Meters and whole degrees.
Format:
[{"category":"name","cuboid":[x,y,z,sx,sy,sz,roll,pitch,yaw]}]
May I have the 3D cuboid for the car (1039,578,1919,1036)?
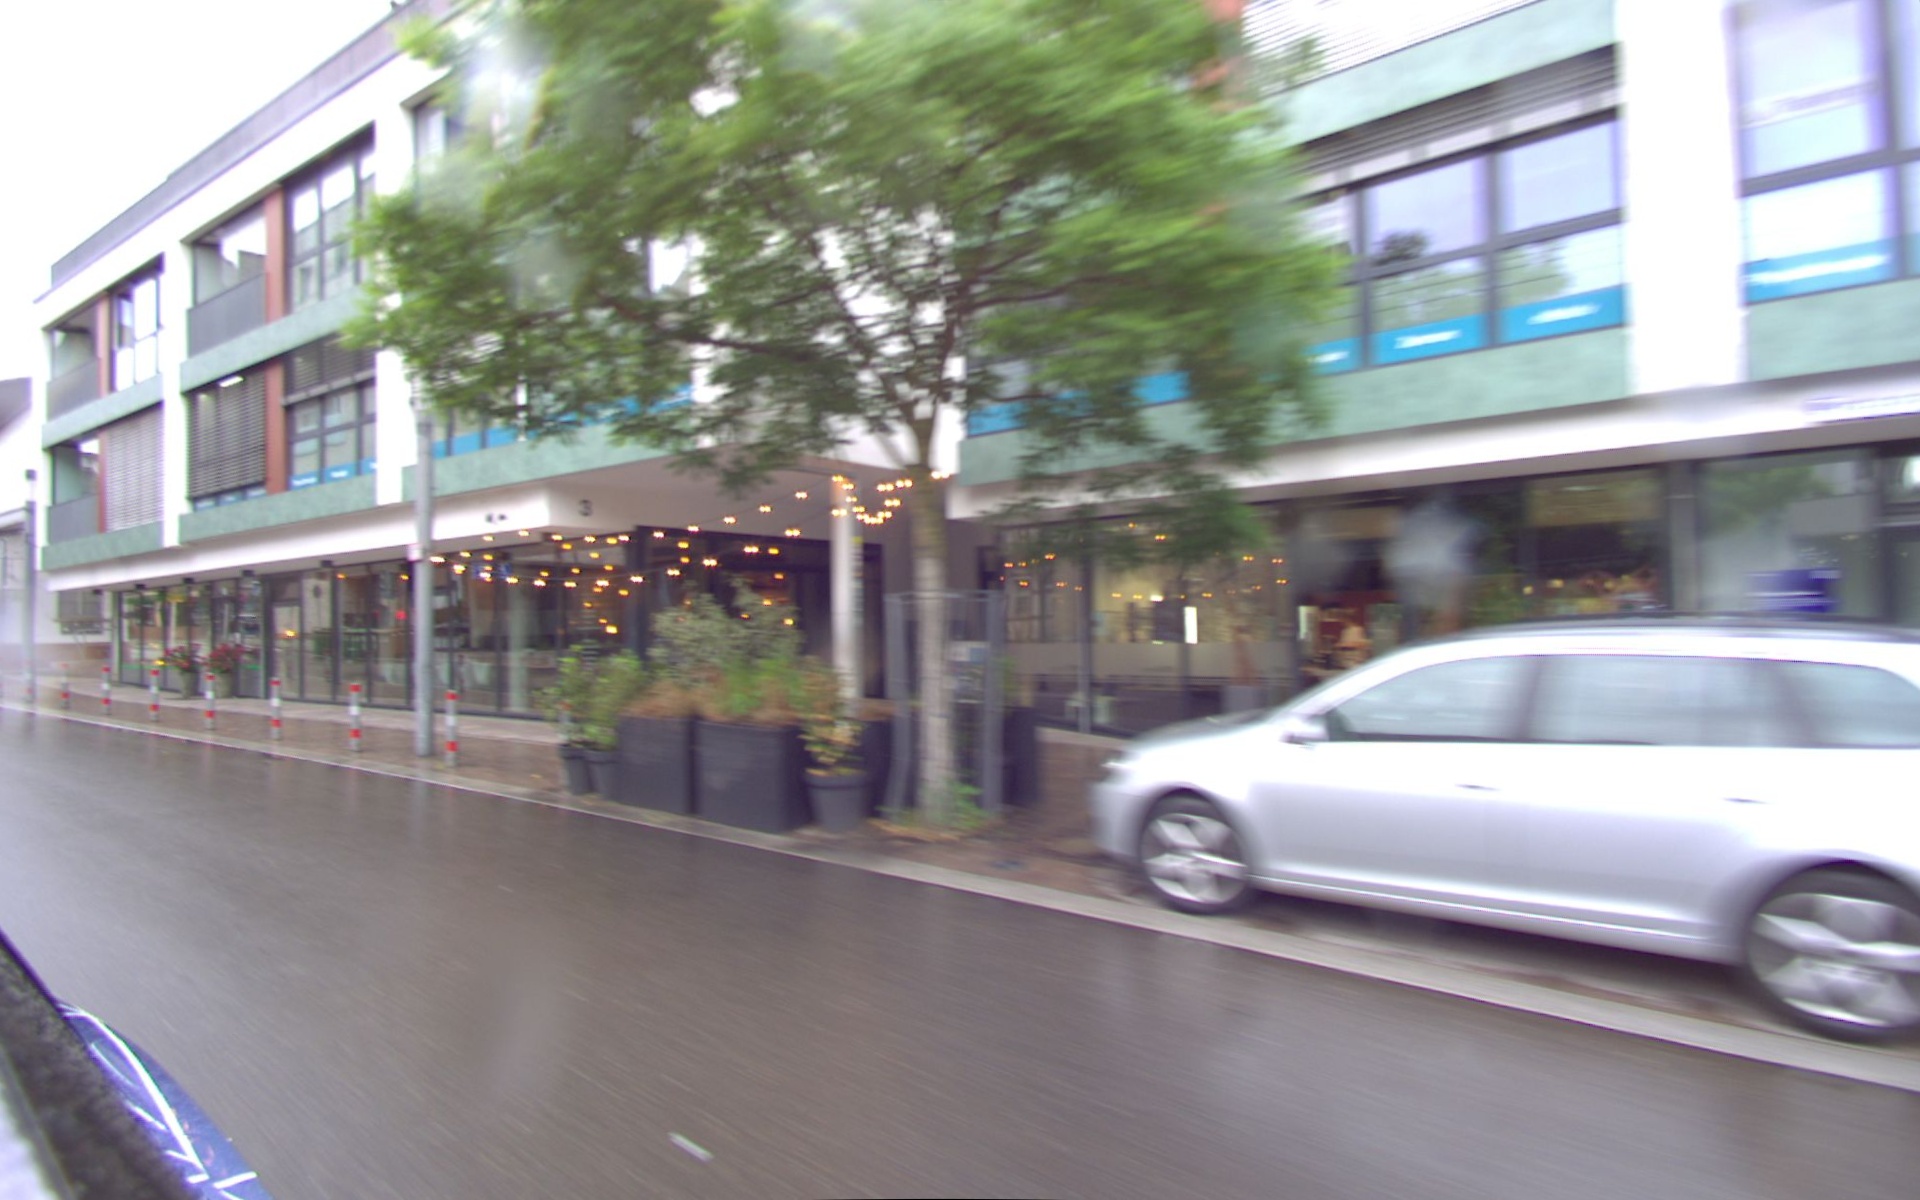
[{"category":"car","cuboid":[2.712,0.725,4.859,4.449,1.510,1.769,-1,-2,39]}]
